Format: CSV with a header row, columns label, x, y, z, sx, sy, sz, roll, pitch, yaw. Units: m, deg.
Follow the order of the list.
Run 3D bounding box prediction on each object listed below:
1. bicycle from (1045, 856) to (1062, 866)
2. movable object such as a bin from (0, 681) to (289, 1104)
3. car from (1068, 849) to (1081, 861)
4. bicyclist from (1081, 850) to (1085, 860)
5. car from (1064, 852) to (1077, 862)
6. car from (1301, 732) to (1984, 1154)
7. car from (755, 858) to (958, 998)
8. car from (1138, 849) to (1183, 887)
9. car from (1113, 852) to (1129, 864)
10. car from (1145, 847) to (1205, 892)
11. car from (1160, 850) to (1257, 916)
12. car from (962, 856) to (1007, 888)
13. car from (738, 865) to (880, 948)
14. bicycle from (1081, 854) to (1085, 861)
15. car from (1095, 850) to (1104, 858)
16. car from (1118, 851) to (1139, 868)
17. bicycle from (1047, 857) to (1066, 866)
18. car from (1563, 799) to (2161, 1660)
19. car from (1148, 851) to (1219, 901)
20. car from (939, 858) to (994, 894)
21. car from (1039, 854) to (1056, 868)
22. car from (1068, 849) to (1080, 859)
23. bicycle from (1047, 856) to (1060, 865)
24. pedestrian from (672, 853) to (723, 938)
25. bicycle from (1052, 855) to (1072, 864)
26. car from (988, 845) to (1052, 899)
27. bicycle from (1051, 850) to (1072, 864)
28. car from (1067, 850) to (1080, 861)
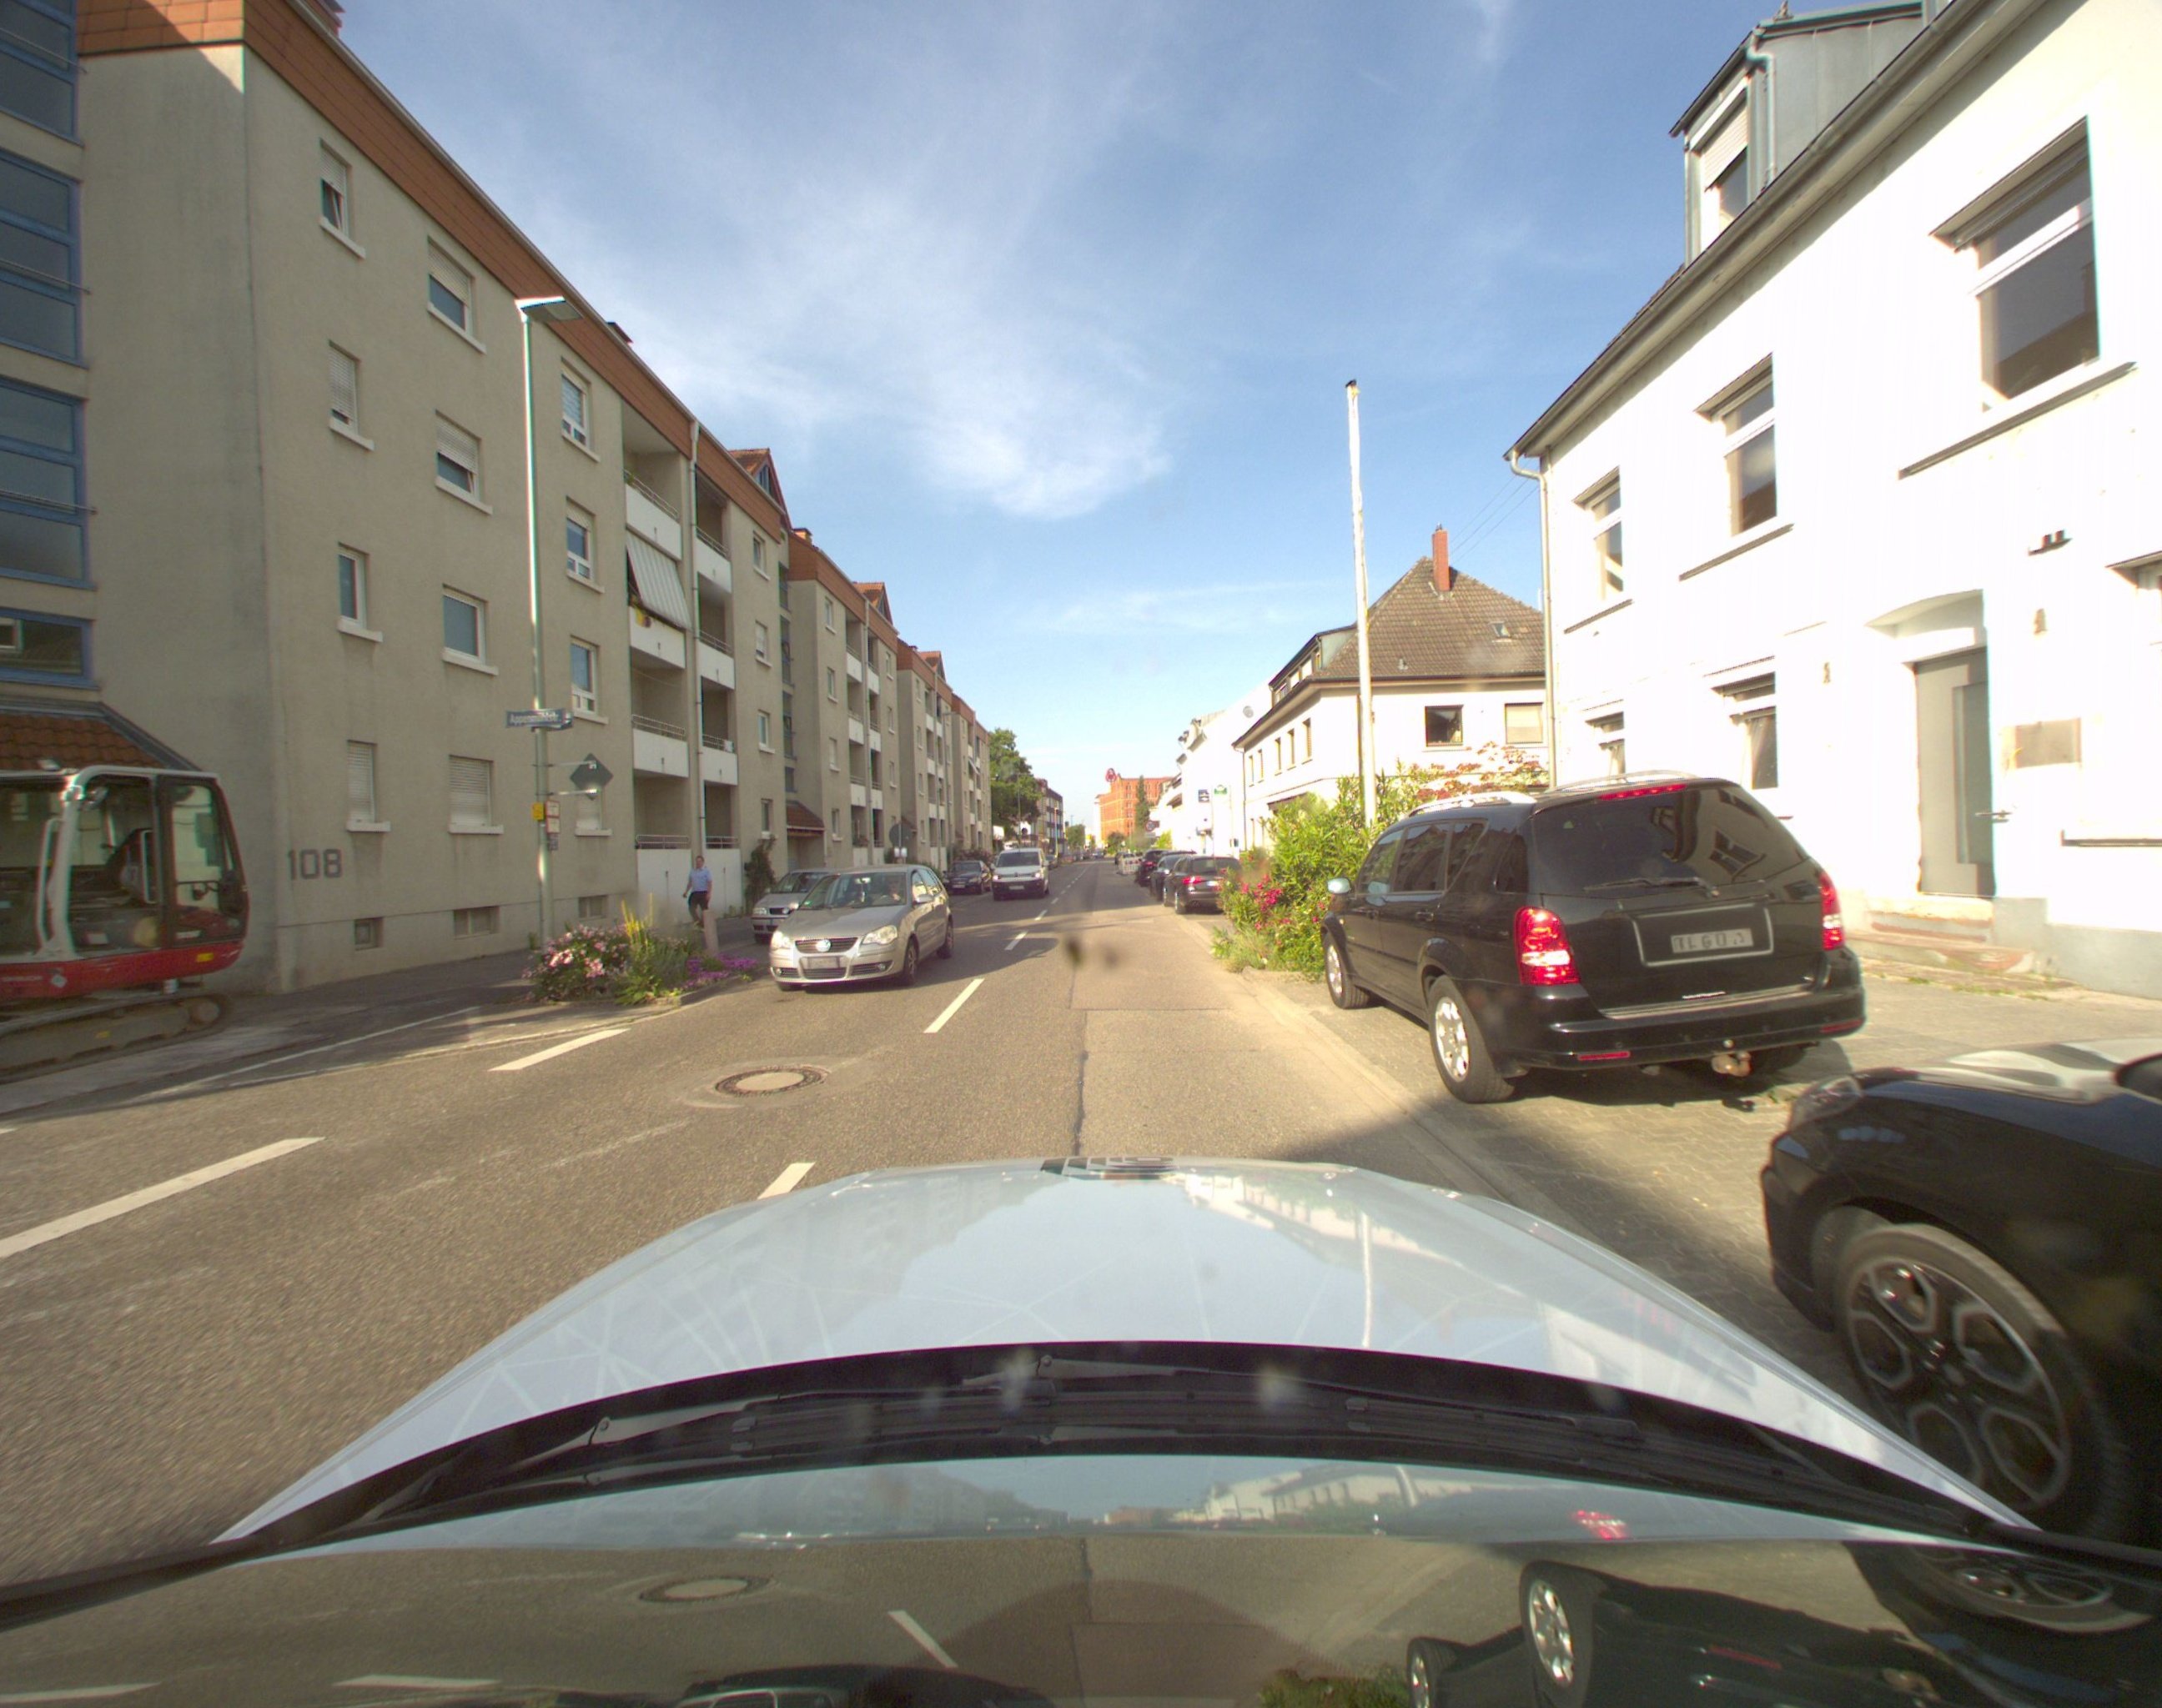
label,x,y,z,sx,sy,sz,roll,pitch,yaw
bicycle,-3.365,0.828,99.947,1.997,1.217,0.707,-2,0,-5
movable object such as a bin,-8.840,0.304,6.213,1.642,3.138,3.899,-2,1,0
car,-1.108,0.177,146.421,1.986,1.907,4.003,-2,0,2
bicyclist,0.319,0.150,128.692,0.588,1.442,0.751,-2,0,3
car,-1.664,0.501,126.424,1.833,1.464,3.586,-2,0,2
car,3.214,0.389,6.087,2.066,1.856,4.615,-3,1,4
car,-2.786,0.835,10.943,1.612,1.455,3.685,-3,0,0
car,3.551,0.645,37.040,1.822,1.630,4.465,0,-1,3
car,4.953,0.450,100.944,1.852,1.472,4.001,0,0,1
car,3.607,0.548,31.926,1.824,1.560,4.317,-3,0,0
car,3.122,0.654,20.796,1.773,1.420,4.496,-2,0,0
car,-5.078,0.902,43.362,1.719,1.555,3.968,-1,0,3
car,-5.391,0.981,16.611,1.635,1.395,3.671,-1,0,0
bicycle,0.335,0.542,128.697,0.606,0.942,1.813,-2,0,3
car,4.044,-0.088,178.762,1.757,1.616,4.001,-3,0,1
car,4.426,0.503,76.738,1.823,1.482,3.945,-3,0,2
bicycle,-3.004,0.899,100.788,2.335,0.970,0.707,-2,0,-4
car,2.669,0.631,0.862,1.583,1.528,4.614,-3,0,1
car,3.248,0.640,26.622,1.823,1.420,4.610,-2,0,1
car,-4.826,0.895,34.822,1.680,1.405,4.084,-1,0,1
car,-3.566,0.715,88.204,1.568,1.420,3.804,-1,0,1
car,-1.323,0.013,152.525,1.986,1.881,4.002,-2,0,2
bicycle,-3.456,0.841,101.509,1.582,1.041,0.707,-2,0,-4
pedestrian,-8.489,0.904,18.040,0.716,1.818,0.745,-1,0,1
bicycle,-2.718,0.810,118.522,2.762,1.144,1.144,-2,0,2
car,-2.133,0.601,29.660,1.916,1.767,4.338,-2,0,0
bicycle,-2.788,0.425,116.751,2.906,1.777,1.203,-2,0,2
car,-1.312,0.215,142.345,1.986,1.911,3.691,-2,0,2
